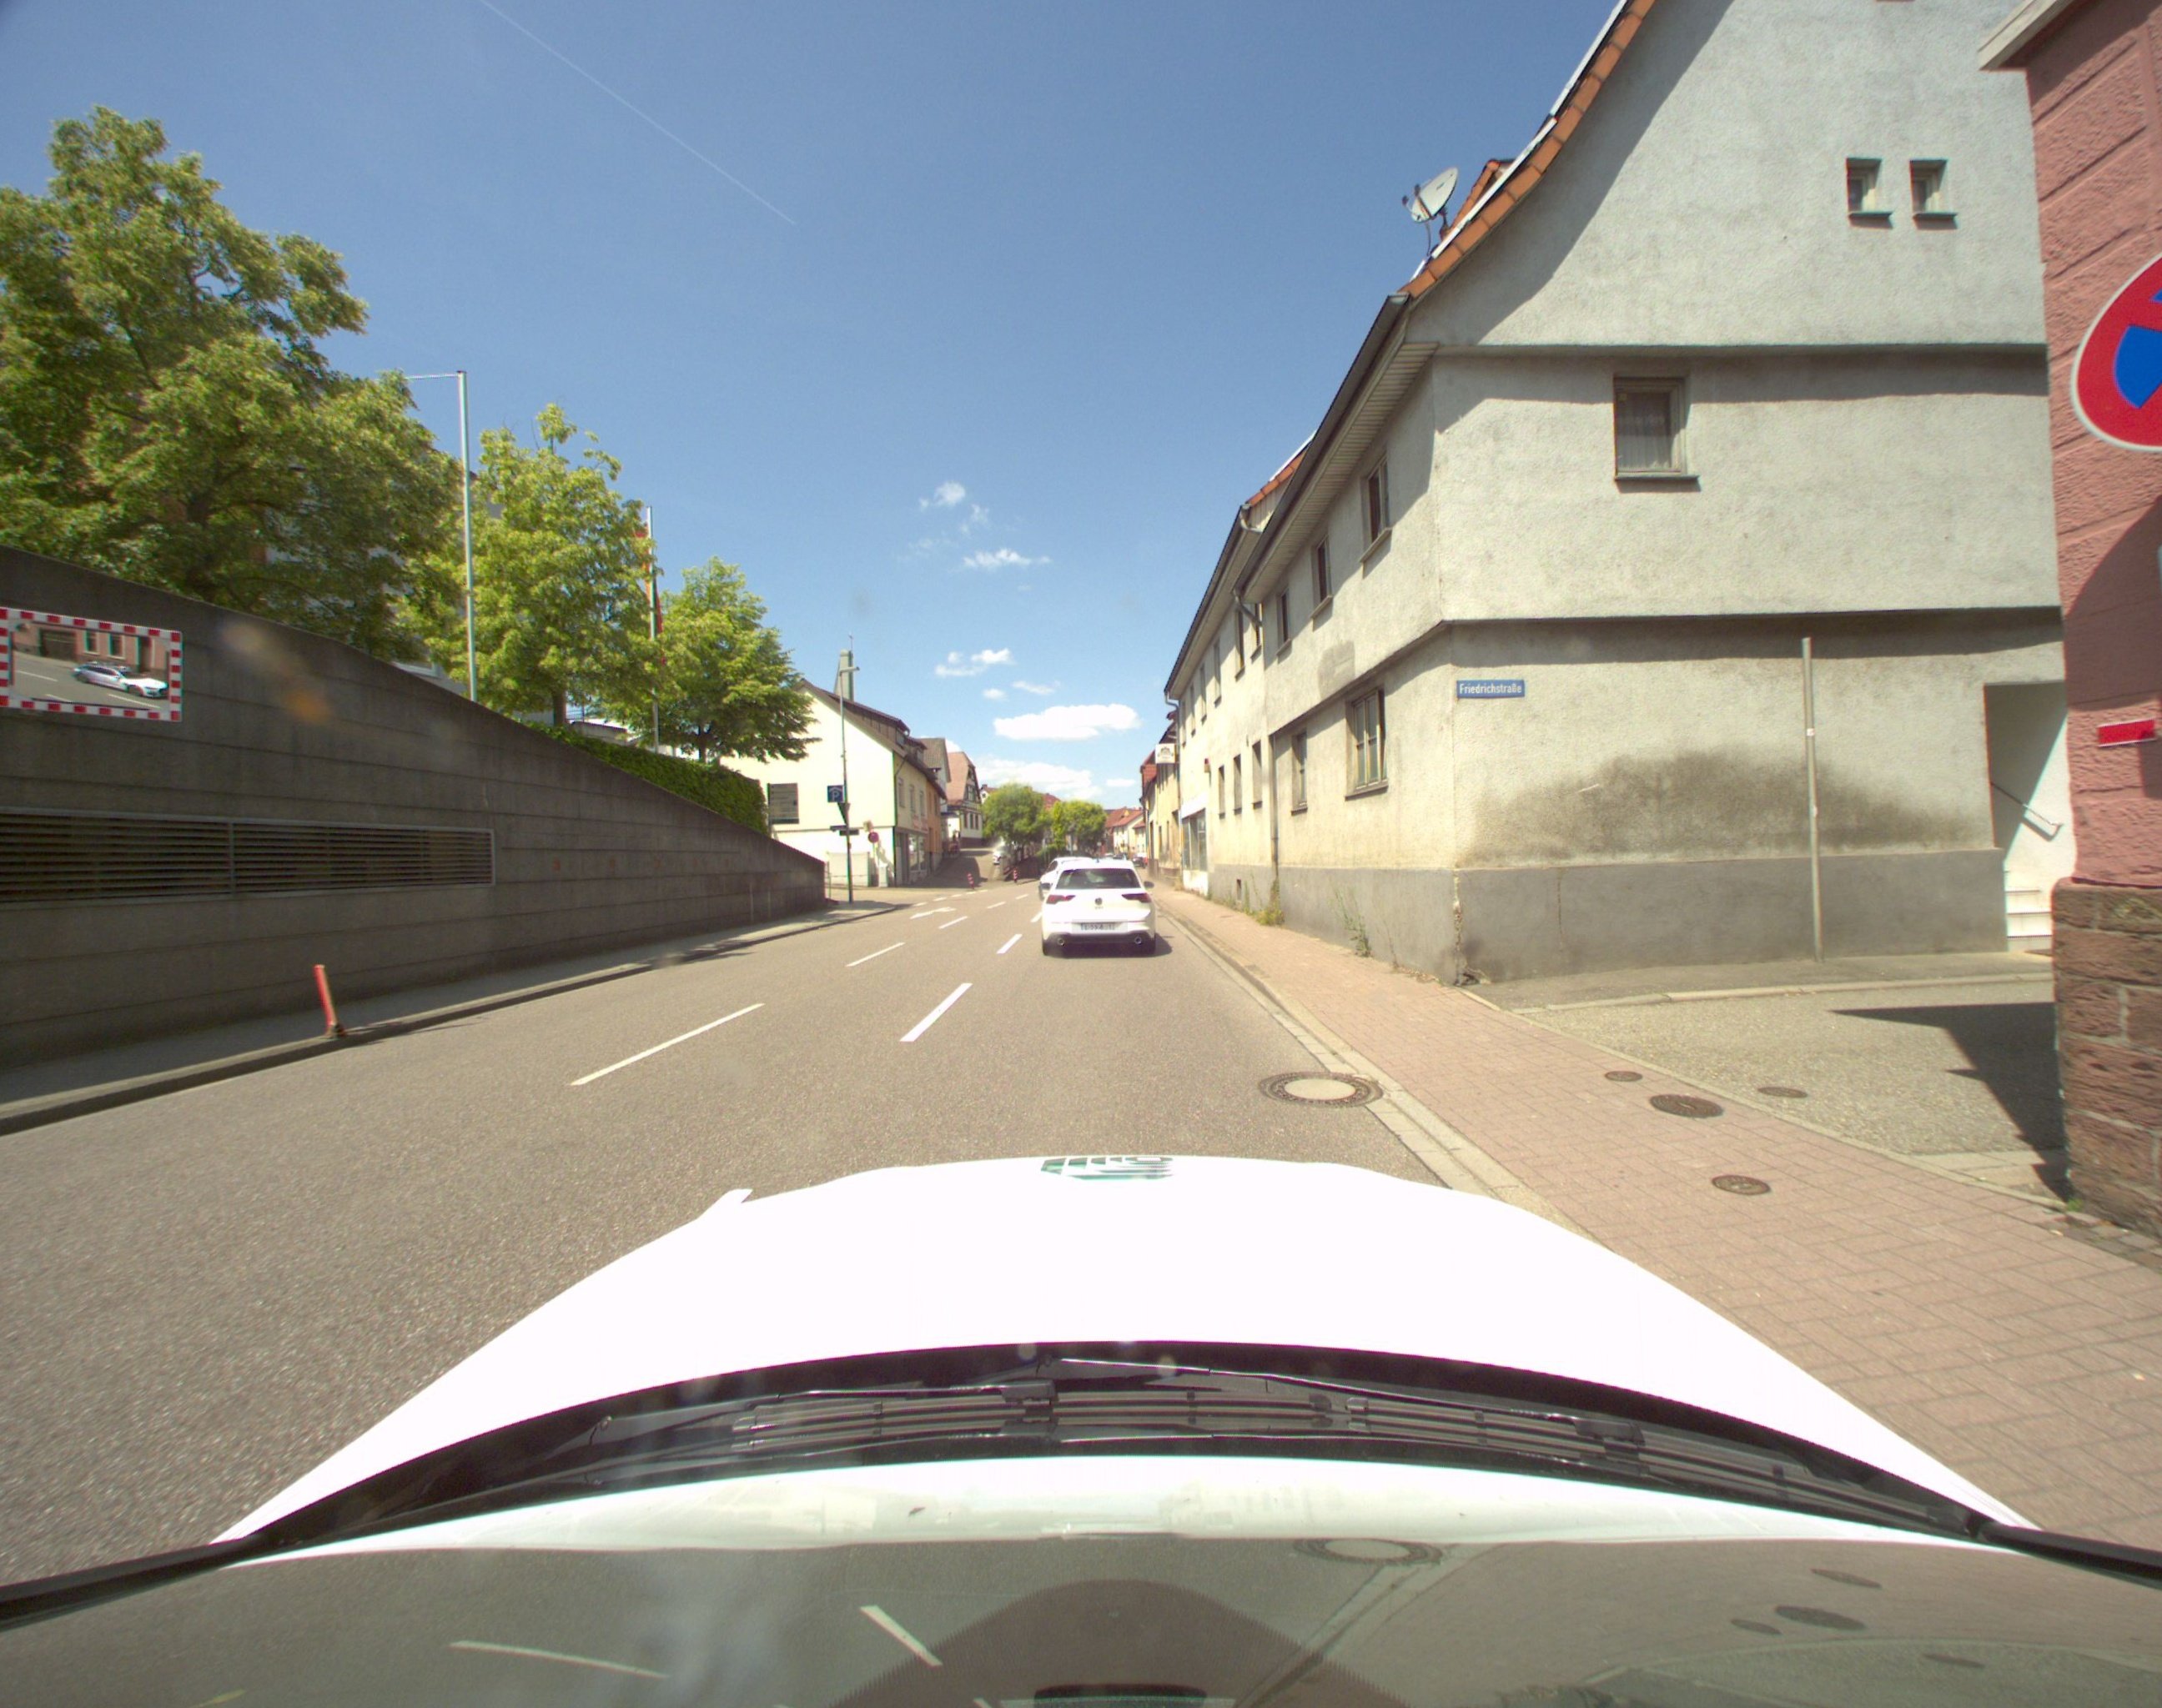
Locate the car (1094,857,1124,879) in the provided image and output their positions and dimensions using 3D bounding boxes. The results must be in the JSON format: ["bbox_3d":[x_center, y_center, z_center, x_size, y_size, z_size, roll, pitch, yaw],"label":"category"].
[{"bbox_3d":[1.935,0.930,55.197,1.799,1.467,4.005,-1,0,5],"label":"car"}]

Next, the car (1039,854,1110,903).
[{"bbox_3d":[-0.298,0.766,26.931,1.807,1.467,3.988,0,0,-9],"label":"car"}]

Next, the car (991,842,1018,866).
[{"bbox_3d":[-6.237,-0.065,66.777,1.687,1.542,3.858,-2,5,1],"label":"car"}]

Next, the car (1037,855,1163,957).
[{"bbox_3d":[0.381,0.763,13.793,1.800,1.467,4.003,-1,0,3],"label":"car"}]

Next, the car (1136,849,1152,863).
[{"bbox_3d":[8.722,0.249,112.206,1.765,1.765,4.010,-2,0,9],"label":"car"}]

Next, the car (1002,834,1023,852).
[{"bbox_3d":[-6.613,-1.065,78.811,1.571,1.361,3.858,-2,5,1],"label":"car"}]

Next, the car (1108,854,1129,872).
[{"bbox_3d":[3.419,0.782,73.073,1.768,1.538,4.004,-2,0,3],"label":"car"}]

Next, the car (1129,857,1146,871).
[{"bbox_3d":[6.717,1.220,96.443,1.766,1.538,4.007,-2,0,6],"label":"car"}]
